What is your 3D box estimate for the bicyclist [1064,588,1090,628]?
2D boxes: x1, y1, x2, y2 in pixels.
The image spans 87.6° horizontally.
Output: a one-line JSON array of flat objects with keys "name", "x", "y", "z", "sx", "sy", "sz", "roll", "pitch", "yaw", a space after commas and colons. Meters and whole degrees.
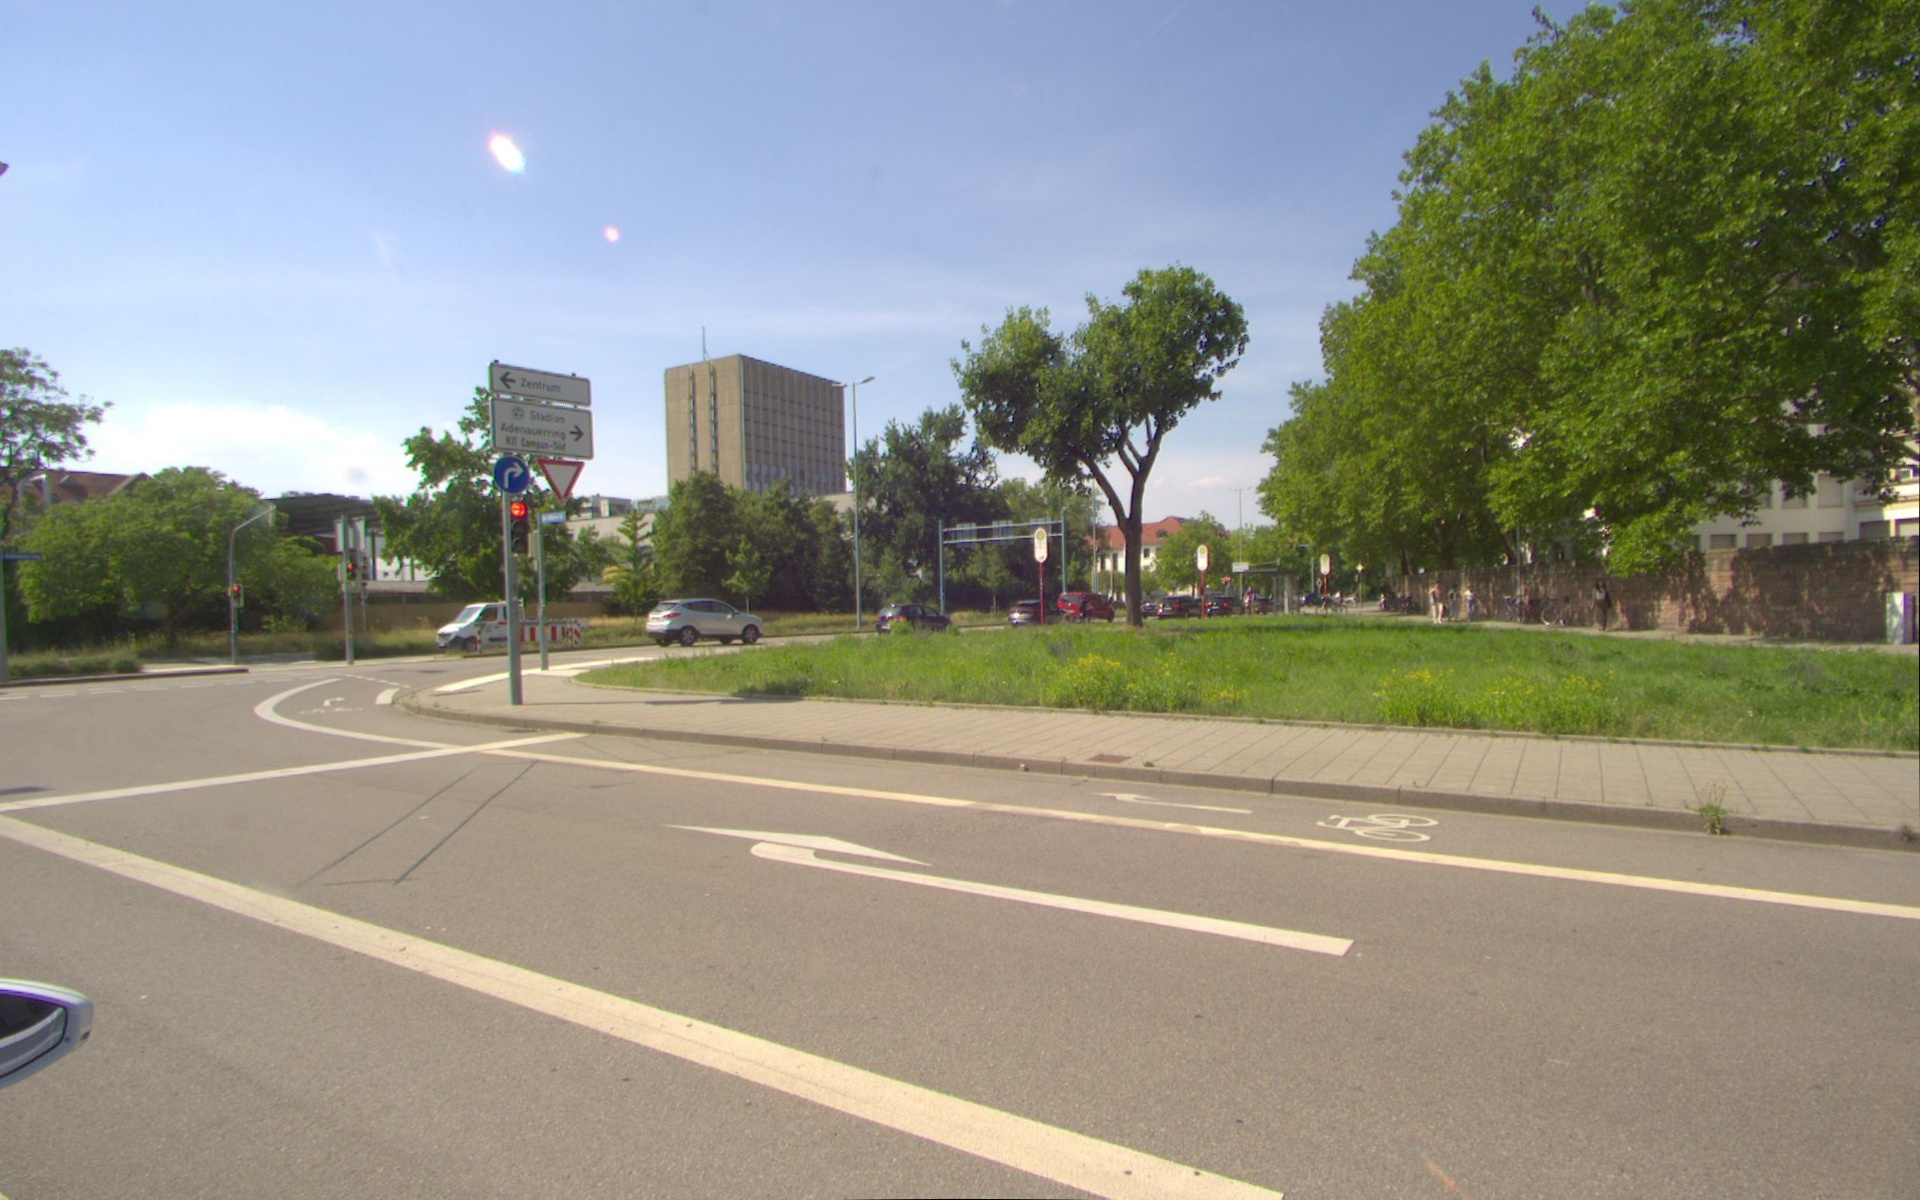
[{"name": "bicyclist", "x": 6.099, "y": 0.454, "z": 52.096, "sx": 0.769, "sy": 2.039, "sz": 1.265, "roll": -1, "pitch": -2, "yaw": 38}]

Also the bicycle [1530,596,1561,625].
[{"name": "bicycle", "x": 21.515, "y": 0.372, "z": 36.827, "sx": 0.439, "sy": 1.047, "sz": 1.447, "roll": -1, "pitch": 1, "yaw": 6}]

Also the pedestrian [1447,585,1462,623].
[{"name": "pedestrian", "x": 21.036, "y": 0.185, "z": 42.623, "sx": 0.515, "sy": 1.599, "sz": 0.701, "roll": -1, "pitch": 1, "yaw": 23}]

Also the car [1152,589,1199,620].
[{"name": "car", "x": 14.697, "y": 0.292, "z": 68.198, "sx": 1.970, "sy": 2.041, "sz": 3.980, "roll": -1, "pitch": 1, "yaw": 30}]

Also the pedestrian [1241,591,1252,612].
[{"name": "pedestrian", "x": 20.760, "y": 0.102, "z": 72.560, "sx": 0.552, "sy": 1.458, "sz": 0.729, "roll": 0, "pitch": 1, "yaw": 30}]

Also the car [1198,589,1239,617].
[{"name": "car", "x": 19.465, "y": 0.210, "z": 75.422, "sx": 1.970, "sy": 2.041, "sz": 3.980, "roll": -1, "pitch": 1, "yaw": 30}]

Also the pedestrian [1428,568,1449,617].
[{"name": "pedestrian", "x": 20.070, "y": -0.312, "z": 41.996, "sx": 0.513, "sy": 2.040, "sz": 0.596, "roll": -2, "pitch": 1, "yaw": -9}]

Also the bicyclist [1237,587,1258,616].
[{"name": "bicyclist", "x": 16.934, "y": 0.087, "z": 59.006, "sx": 1.068, "sy": 1.659, "sz": 0.486, "roll": -1, "pitch": 1, "yaw": 29}]

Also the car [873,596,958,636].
[{"name": "car", "x": -1.917, "y": 0.674, "z": 44.093, "sx": 1.564, "sy": 1.612, "sz": 3.972, "roll": -1, "pitch": 1, "yaw": 37}]

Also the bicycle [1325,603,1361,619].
[{"name": "bicycle", "x": 42.062, "y": 1.229, "z": 109.969, "sx": 3.583, "sy": 1.626, "sz": 1.092, "roll": -1, "pitch": -2, "yaw": 29}]

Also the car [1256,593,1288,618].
[{"name": "car", "x": 27.491, "y": 0.511, "z": 88.164, "sx": 1.970, "sy": 2.039, "sz": 3.984, "roll": -1, "pitch": -2, "yaw": 29}]

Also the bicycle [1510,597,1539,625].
[{"name": "bicycle", "x": 21.690, "y": 0.427, "z": 38.502, "sx": 0.439, "sy": 1.047, "sz": 1.447, "roll": -1, "pitch": 1, "yaw": 6}]

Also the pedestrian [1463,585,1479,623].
[{"name": "pedestrian", "x": 21.576, "y": 0.171, "z": 42.272, "sx": 0.515, "sy": 1.599, "sz": 0.701, "roll": -1, "pitch": 1, "yaw": 23}]

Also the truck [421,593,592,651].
[{"name": "truck", "x": -20.769, "y": 0.931, "z": 46.302, "sx": 2.379, "sy": 2.387, "sz": 7.007, "roll": -1, "pitch": 1, "yaw": 33}]

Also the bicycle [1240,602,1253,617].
[{"name": "bicycle", "x": 20.779, "y": 0.667, "z": 72.578, "sx": 0.552, "sy": 1.066, "sz": 1.318, "roll": -1, "pitch": 1, "yaw": 30}]

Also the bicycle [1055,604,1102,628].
[{"name": "bicycle", "x": 6.212, "y": 0.857, "z": 52.235, "sx": 0.838, "sy": 1.233, "sz": 3.462, "roll": -1, "pitch": -2, "yaw": 37}]

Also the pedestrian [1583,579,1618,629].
[{"name": "pedestrian", "x": 20.510, "y": 0.140, "z": 32.066, "sx": 0.493, "sy": 1.569, "sz": 0.913, "roll": -1, "pitch": 1, "yaw": -4}]

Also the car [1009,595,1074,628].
[{"name": "car", "x": 4.362, "y": 0.608, "z": 53.337, "sx": 1.564, "sy": 1.612, "sz": 3.972, "roll": -1, "pitch": 1, "yaw": 37}]

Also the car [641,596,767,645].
[{"name": "car", "x": -9.258, "y": 0.706, "z": 36.441, "sx": 1.693, "sy": 1.640, "sz": 4.178, "roll": 0, "pitch": 1, "yaw": 44}]

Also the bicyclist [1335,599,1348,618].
[{"name": "bicyclist", "x": 41.955, "y": 0.984, "z": 110.021, "sx": 1.160, "sy": 2.039, "sz": 1.094, "roll": -1, "pitch": -1, "yaw": 29}]

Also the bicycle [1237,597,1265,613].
[{"name": "bicycle", "x": 17.176, "y": 0.311, "z": 59.141, "sx": 1.912, "sy": 0.899, "sz": 0.679, "roll": -2, "pitch": 1, "yaw": -42}]

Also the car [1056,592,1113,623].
[{"name": "car", "x": 8.020, "y": 0.451, "z": 64.259, "sx": 1.950, "sy": 1.821, "sz": 4.587, "roll": -1, "pitch": 1, "yaw": 31}]

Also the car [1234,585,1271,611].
[{"name": "car", "x": 24.126, "y": -0.168, "z": 82.461, "sx": 1.970, "sy": 2.041, "sz": 3.980, "roll": -1, "pitch": 1, "yaw": 30}]
